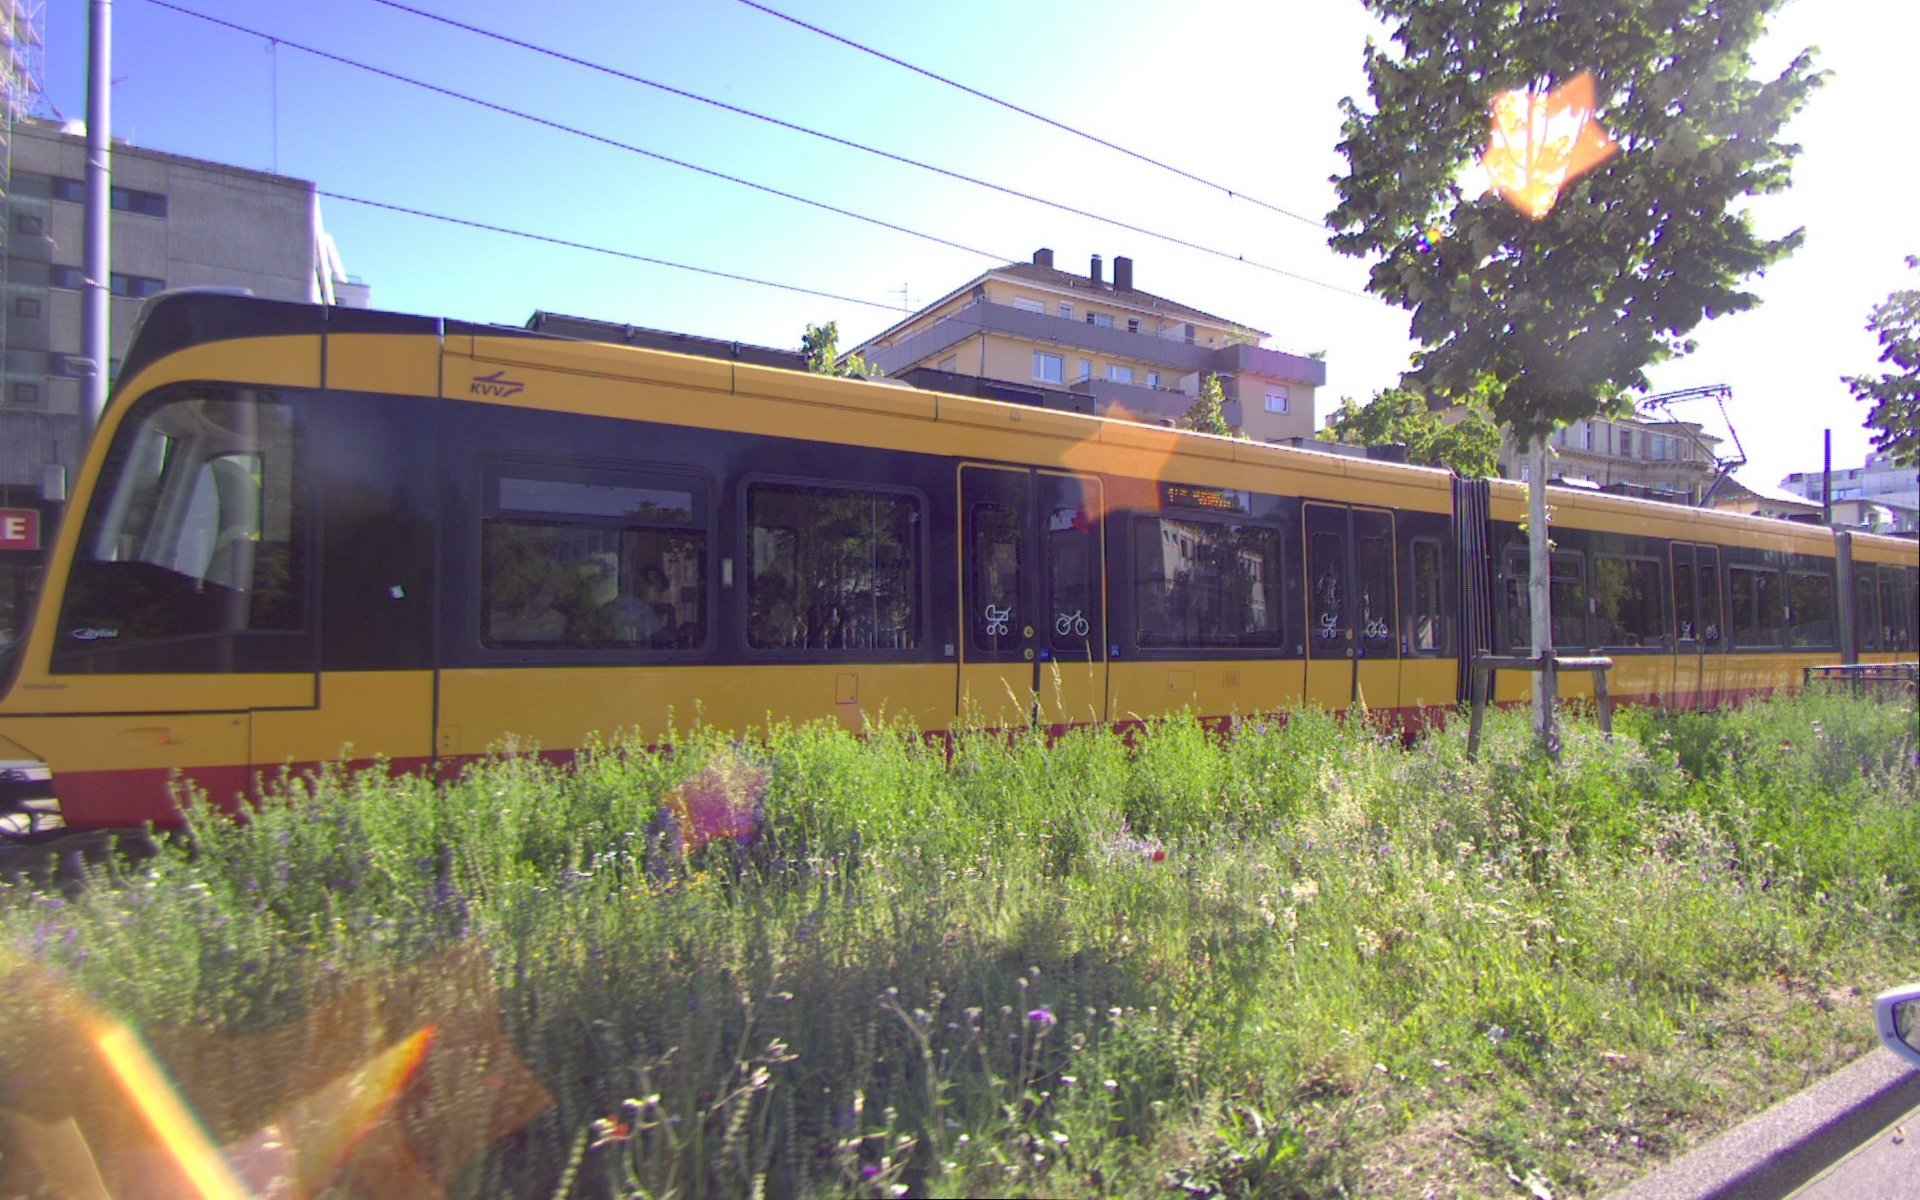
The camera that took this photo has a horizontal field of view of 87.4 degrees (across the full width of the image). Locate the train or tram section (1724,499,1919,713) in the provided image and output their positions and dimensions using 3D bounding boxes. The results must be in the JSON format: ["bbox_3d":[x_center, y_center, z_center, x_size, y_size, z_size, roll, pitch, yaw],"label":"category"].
[{"bbox_3d":[20.028,0.222,21.245,11.548,3.718,1.984,1,-1,-31],"label":"train or tram section"}]

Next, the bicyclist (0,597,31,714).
[{"bbox_3d":[-10.514,0.582,10.725,0.571,1.241,0.765,1,-1,36],"label":"bicyclist"}]

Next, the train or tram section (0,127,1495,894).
[{"bbox_3d":[-0.265,-0.311,8.778,13.993,3.718,1.983,1,-1,-32],"label":"train or tram section"}]

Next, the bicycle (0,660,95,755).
[{"bbox_3d":[-10.555,1.165,10.656,0.553,0.964,2.010,1,-1,35],"label":"bicycle"}]

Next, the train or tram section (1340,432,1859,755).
[{"bbox_3d":[10.315,0.038,15.358,11.188,3.718,1.983,1,-1,-32],"label":"train or tram section"}]
